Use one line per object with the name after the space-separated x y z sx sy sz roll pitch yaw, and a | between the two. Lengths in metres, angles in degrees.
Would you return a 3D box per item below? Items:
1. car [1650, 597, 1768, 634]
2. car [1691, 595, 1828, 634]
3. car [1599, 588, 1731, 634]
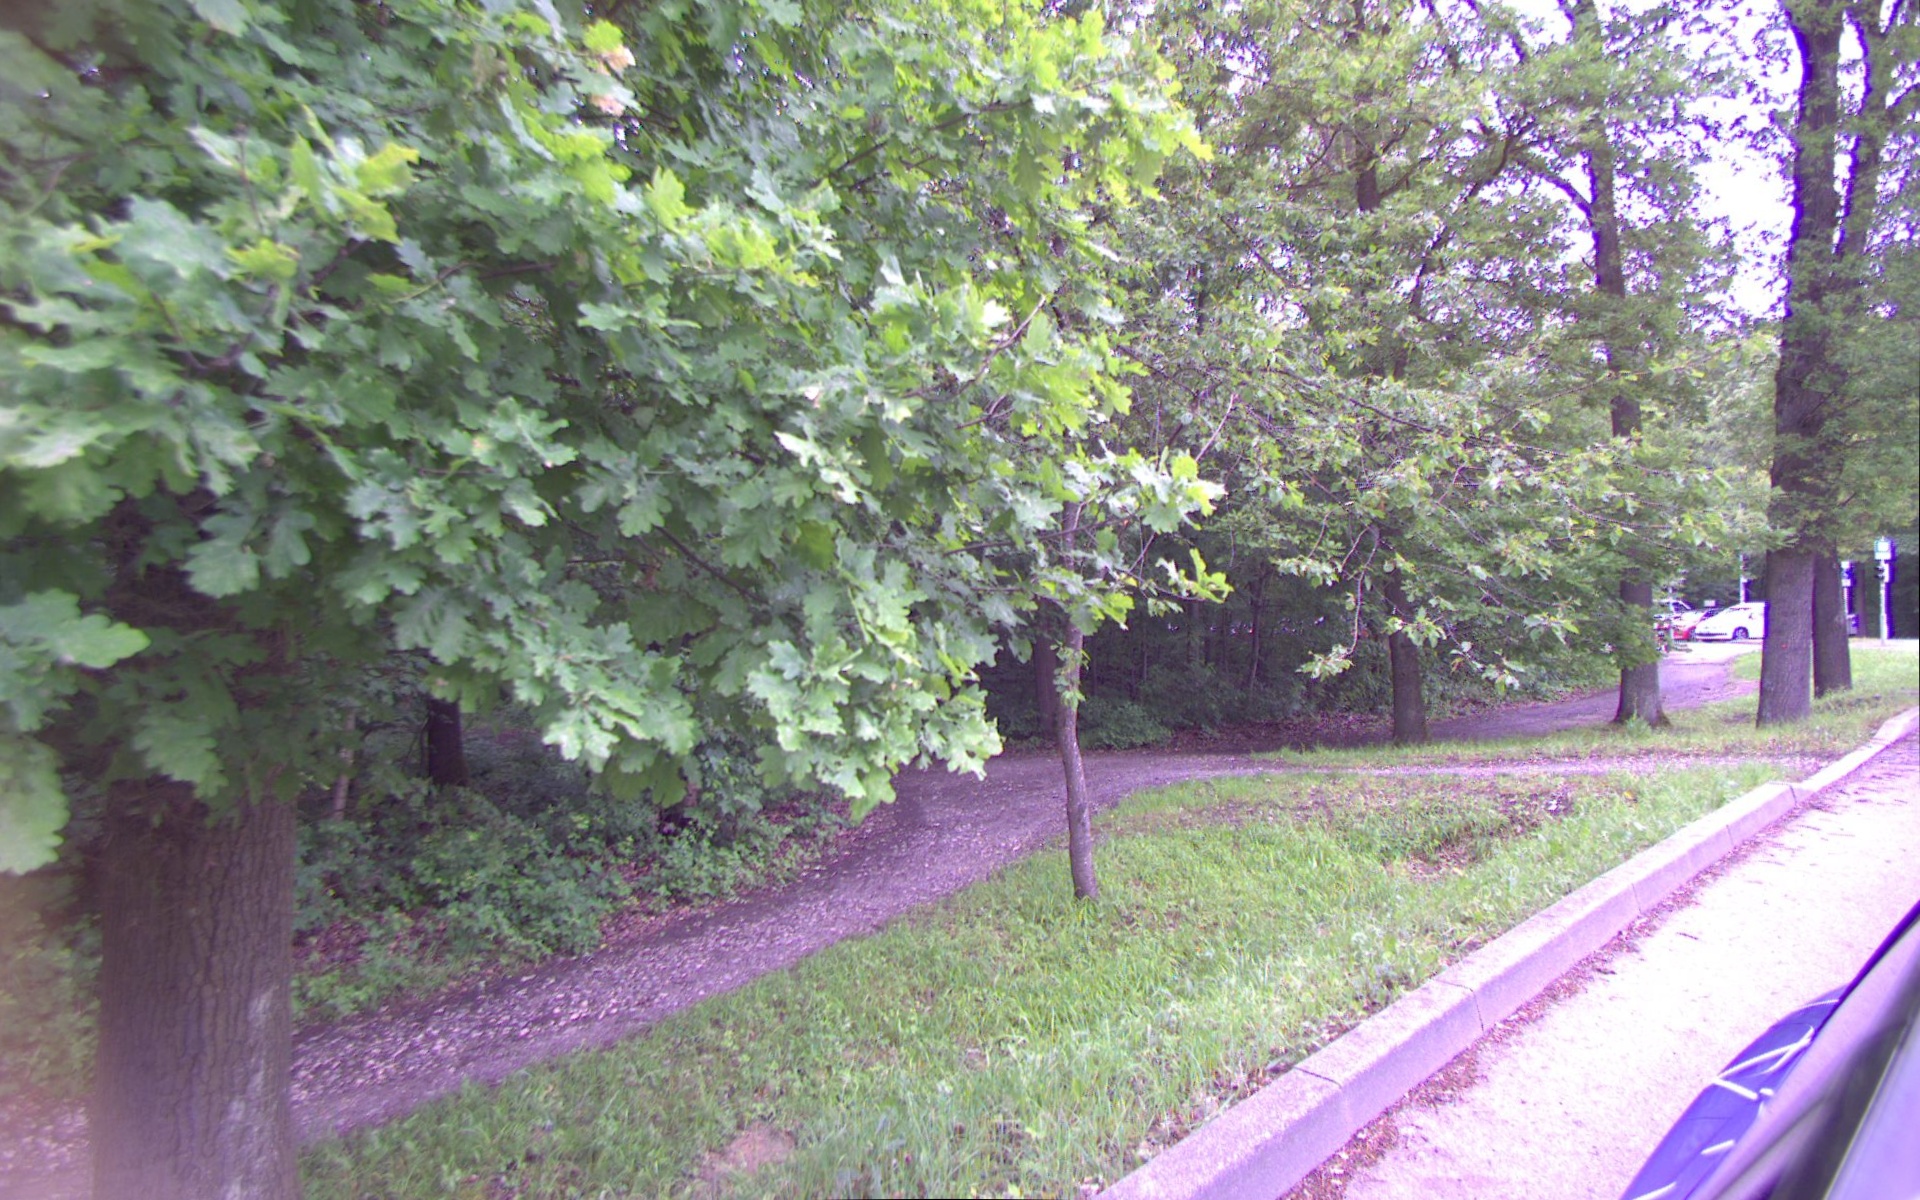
33.614 0.713 45.467 3.920 1.572 1.896 -1 -2 -6 | car
33.978 0.636 43.072 4.332 1.572 2.001 -1 -2 -6 | car
33.513 0.535 48.154 5.077 1.982 2.065 -2 -2 -10 | car
